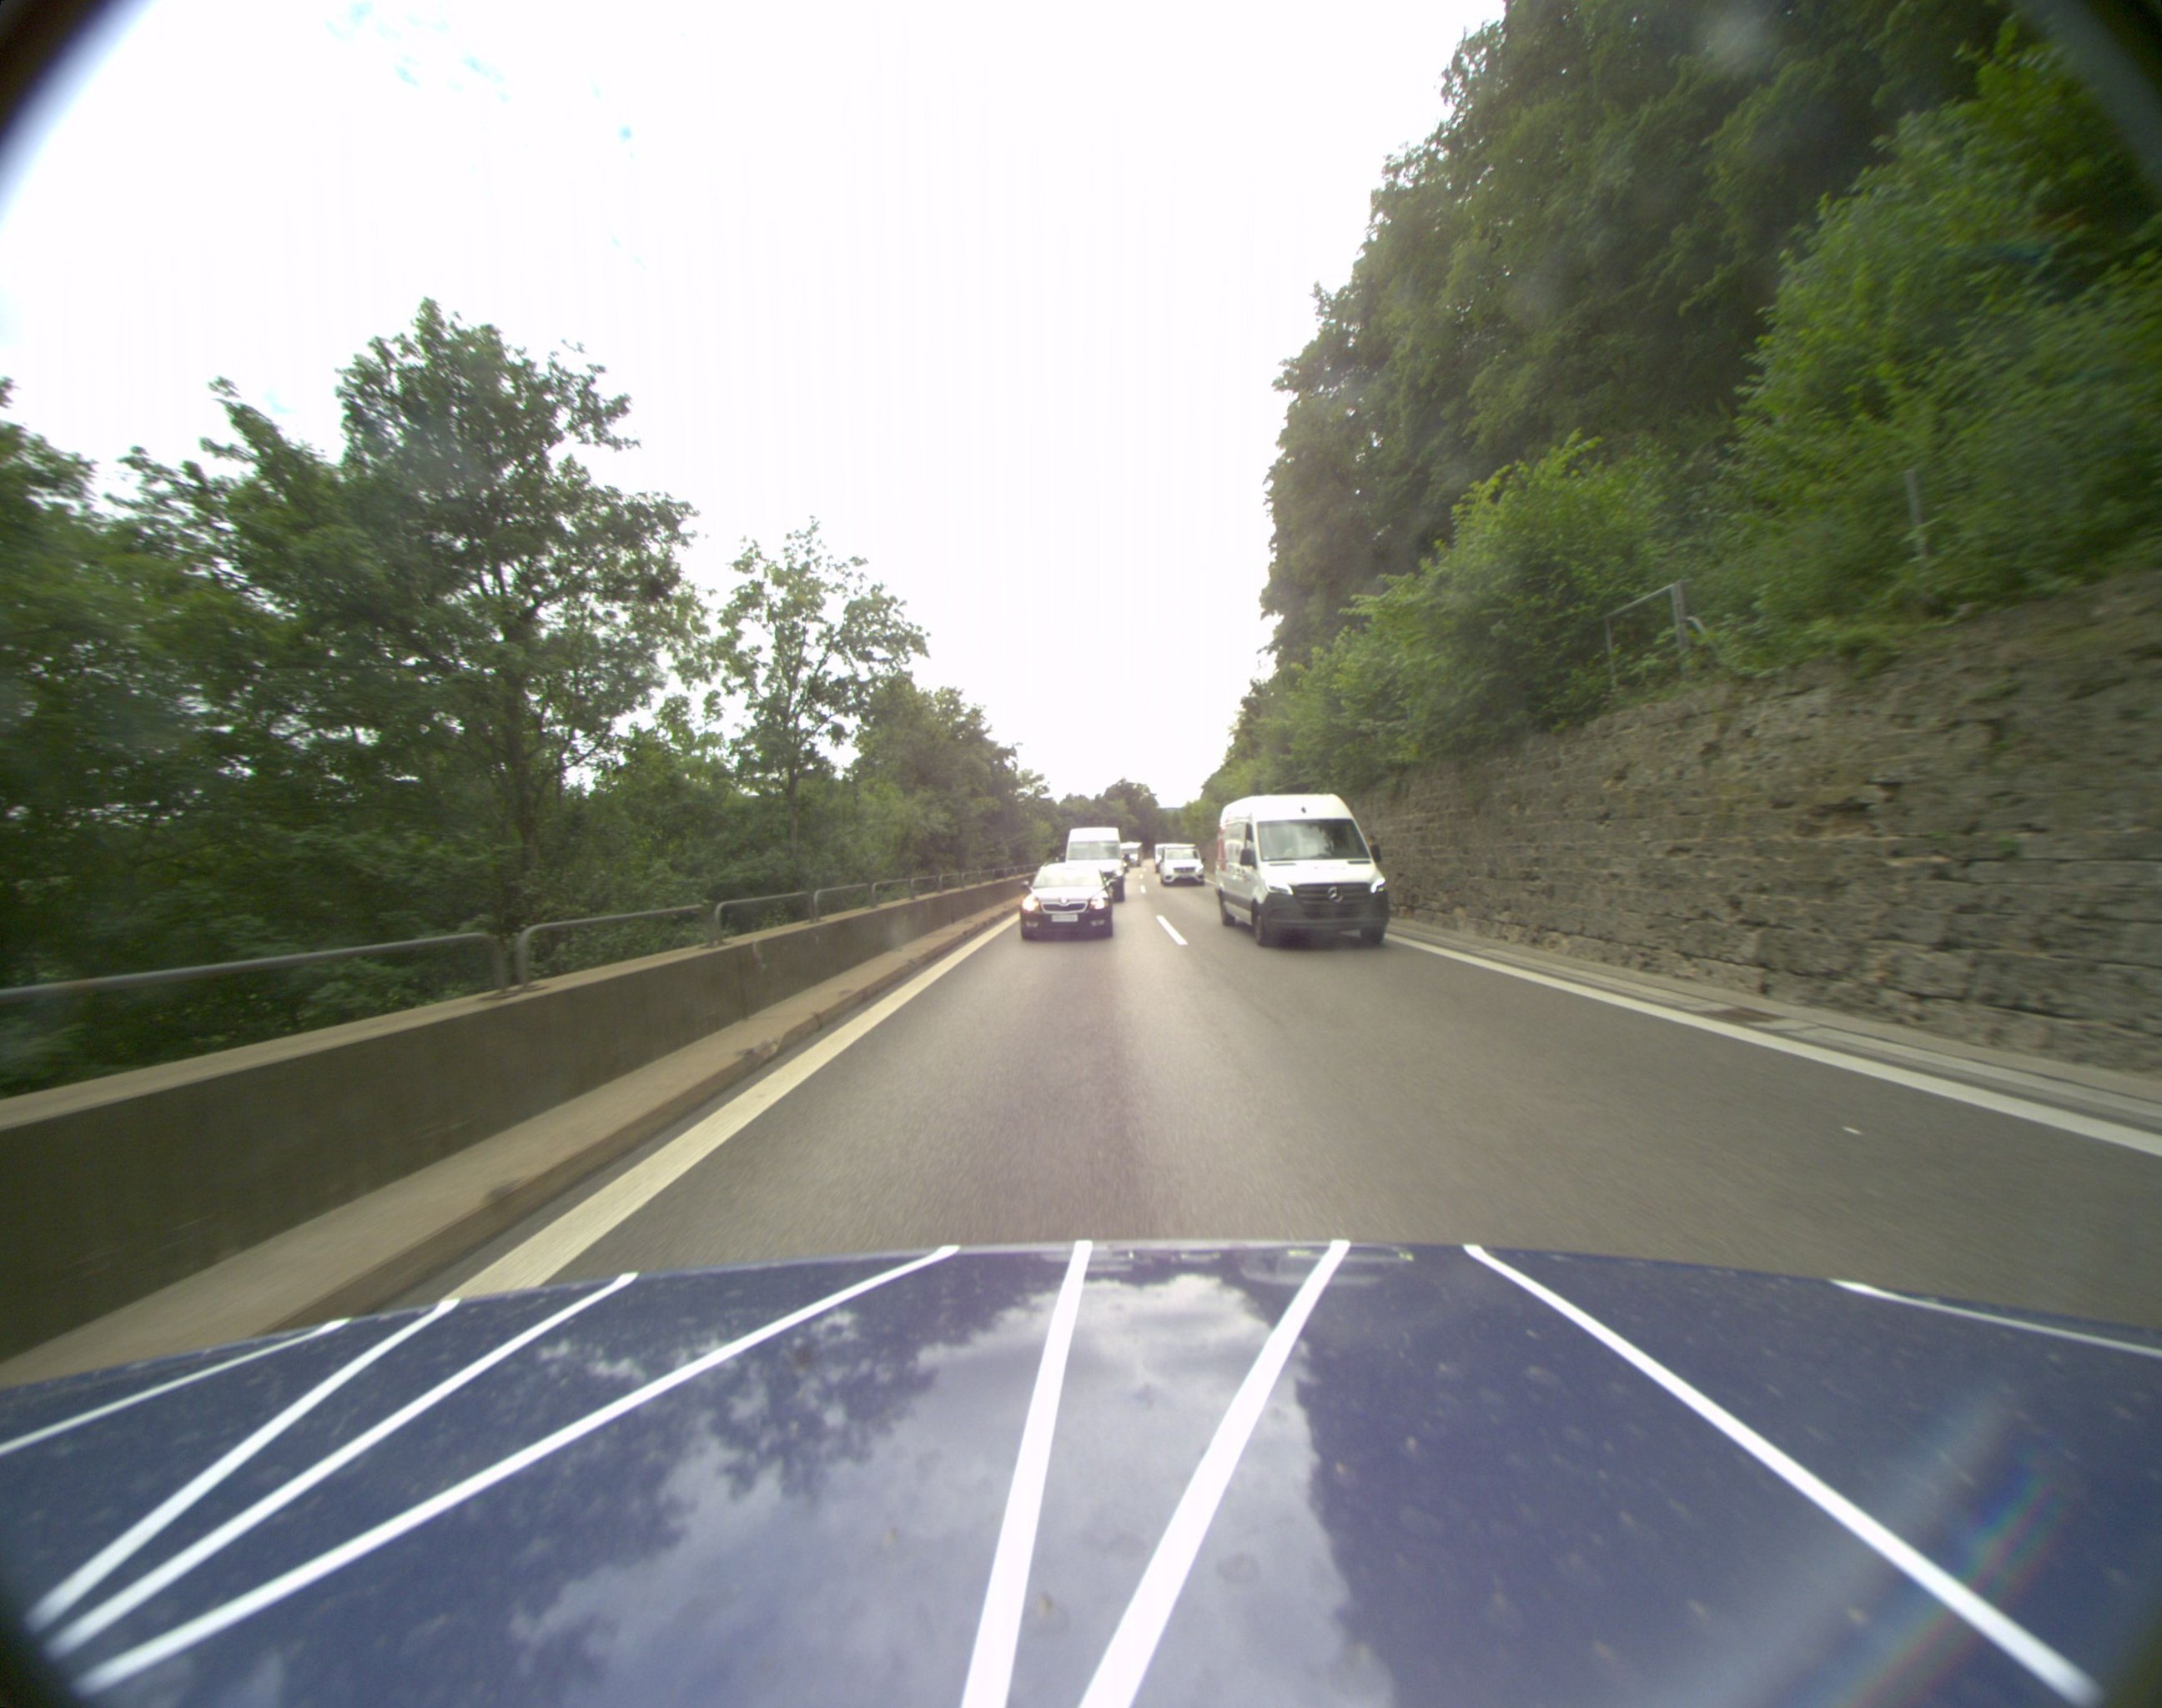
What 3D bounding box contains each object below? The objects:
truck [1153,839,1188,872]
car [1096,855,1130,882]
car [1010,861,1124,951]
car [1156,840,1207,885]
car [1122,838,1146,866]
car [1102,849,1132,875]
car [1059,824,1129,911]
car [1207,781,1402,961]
[{"bbox_3d":[7.085,0.068,59.658,1.997,2.266,6.591,-3,0,12],"label":"truck"},{"bbox_3d":[1.972,0.839,45.713,1.846,1.408,4.001,-2,0,5],"label":"car"},{"bbox_3d":[-0.284,0.941,16.313,1.913,1.391,5.696,-4,0,-1],"label":"car"},{"bbox_3d":[4.875,0.367,37.680,1.998,1.941,6.149,-3,0,4],"label":"car"},{"bbox_3d":[5.935,-0.294,84.815,2.275,2.941,7.188,-2,1,6],"label":"car"},{"bbox_3d":[2.980,0.645,61.979,1.997,1.871,4.002,-3,1,9],"label":"car"},{"bbox_3d":[0.560,0.374,25.755,1.998,2.550,5.919,-2,1,4],"label":"car"},{"bbox_3d":[3.783,0.216,14.247,2.031,2.570,6.275,-2,1,3],"label":"car"}]
